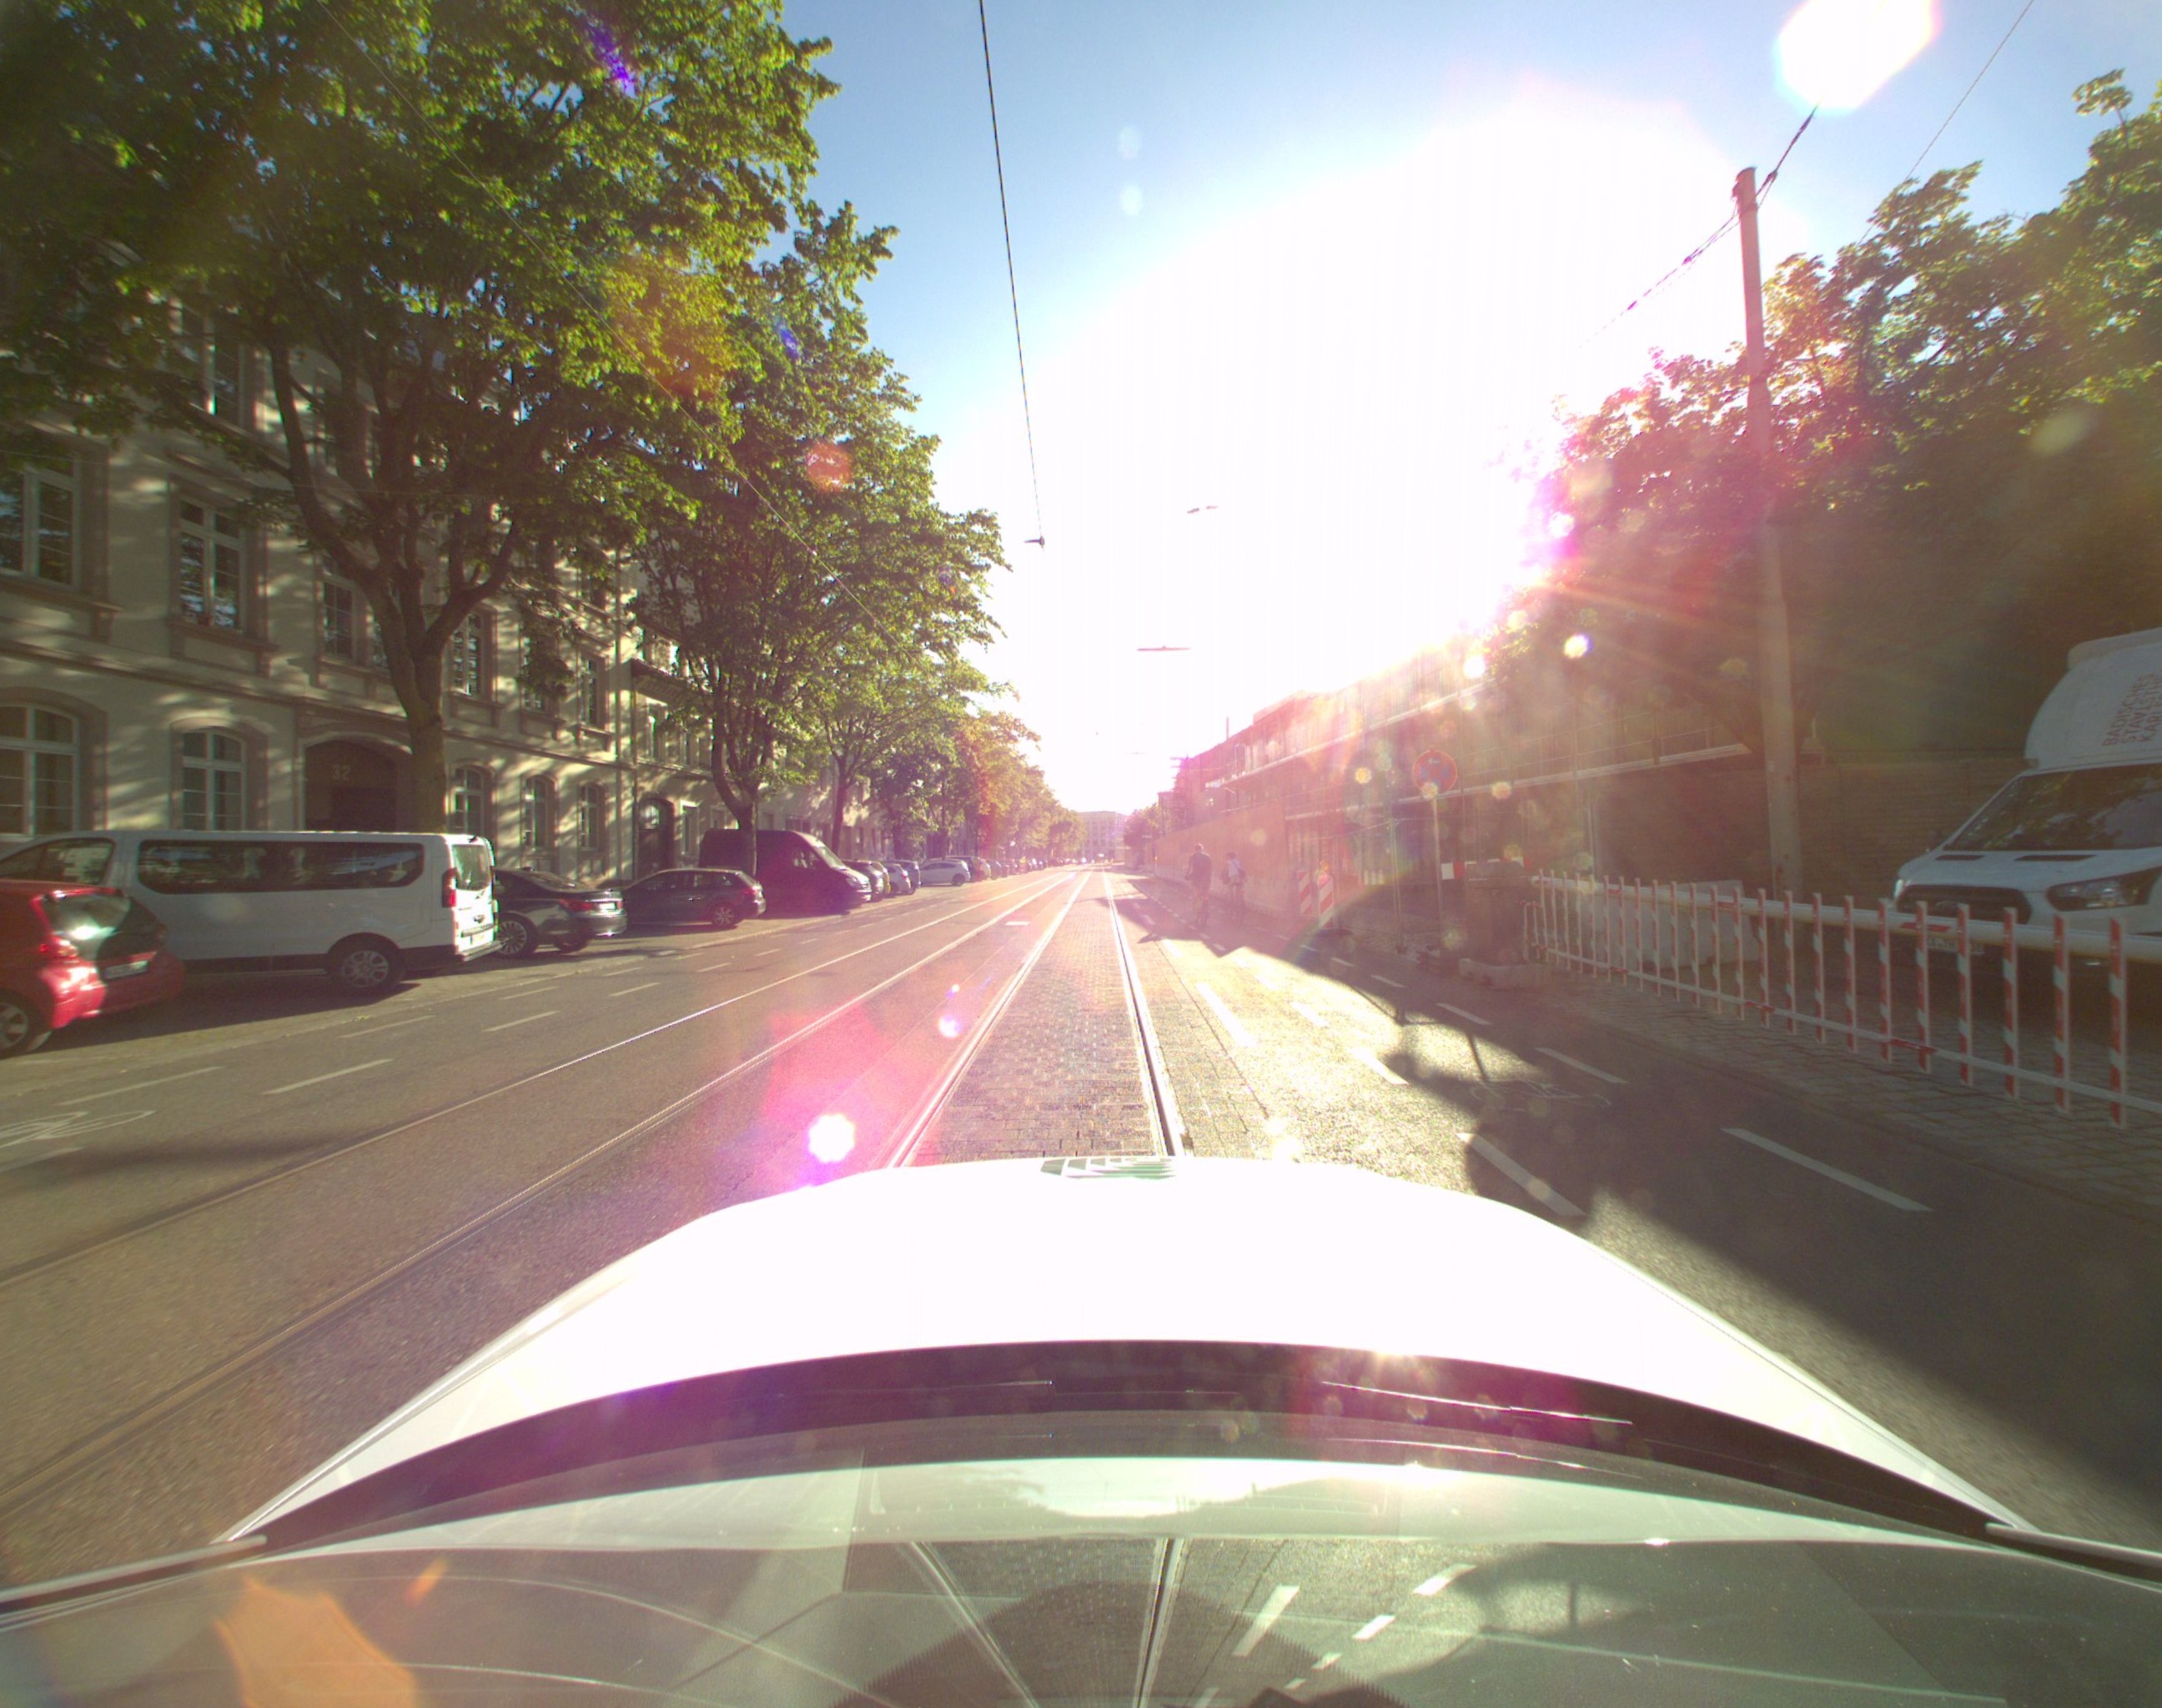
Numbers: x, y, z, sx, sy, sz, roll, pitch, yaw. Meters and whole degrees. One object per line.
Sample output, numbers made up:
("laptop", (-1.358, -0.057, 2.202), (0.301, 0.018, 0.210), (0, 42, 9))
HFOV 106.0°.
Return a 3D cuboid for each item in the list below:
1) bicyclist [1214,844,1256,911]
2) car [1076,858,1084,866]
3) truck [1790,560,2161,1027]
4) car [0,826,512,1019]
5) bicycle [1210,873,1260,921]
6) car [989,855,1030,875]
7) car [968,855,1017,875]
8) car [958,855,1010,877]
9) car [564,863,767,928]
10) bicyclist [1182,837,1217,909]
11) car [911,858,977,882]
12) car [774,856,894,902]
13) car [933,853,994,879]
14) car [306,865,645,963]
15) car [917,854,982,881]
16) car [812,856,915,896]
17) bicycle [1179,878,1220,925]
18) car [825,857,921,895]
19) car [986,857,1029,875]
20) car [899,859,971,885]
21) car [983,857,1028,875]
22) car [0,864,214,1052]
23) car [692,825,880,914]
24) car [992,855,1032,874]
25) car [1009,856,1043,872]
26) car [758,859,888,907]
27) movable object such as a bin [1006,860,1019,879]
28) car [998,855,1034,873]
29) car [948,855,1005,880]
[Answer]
("bicyclist", (3.871, 0.573, 20.549), (0.889, 1.639, 1.100), (0, 0, 1))
("car", (-0.340, 1.838, 191.676), (1.676, 1.837, 3.868), (2, -1, -2))
("truck", (10.799, -0.585, 7.048), (7.071, 3.348, 2.391), (-3, 0, 1))
("car", (-10.401, 0.704, 9.902), (5.353, 1.991, 2.023), (-1, 0, -23))
("bicycle", (3.869, 1.059, 20.672), (0.889, 1.093, 2.431), (0, 0, 2))
("car", (-7.771, 1.238, 88.771), (4.101, 2.054, 1.816), (2, -1, -21))
("car", (-8.135, 0.997, 74.577), (4.101, 1.754, 1.816), (2, -1, -21))
("car", (-8.328, 1.041, 69.880), (4.101, 1.754, 1.816), (2, -1, -21))
("car", (-10.012, 1.003, 19.975), (4.095, 1.420, 1.819), (2, -1, -16))
("bicyclist", (2.774, 0.443, 19.167), (0.678, 1.658, 0.812), (-1, -1, 0))
("car", (-9.154, 1.045, 54.346), (4.099, 1.453, 1.817), (2, -1, -19))
("car", (-9.475, 0.949, 31.495), (4.081, 1.608, 1.824), (2, -1, -6))
("car", (-8.686, 0.895, 60.058), (4.101, 1.754, 1.816), (2, -1, -21))
("car", (-9.874, 0.968, 13.612), (4.083, 1.420, 1.824), (2, -1, -7))
("car", (-9.196, 0.943, 56.923), (4.101, 1.754, 1.816), (2, -1, -21))
("car", (-9.488, 0.965, 35.789), (4.081, 1.608, 1.824), (2, -1, -6))
("bicycle", (2.787, 1.095, 19.314), (0.678, 1.018, 1.921), (-1, -1, 0))
("car", (-9.730, 1.024, 38.328), (4.081, 1.608, 1.824), (2, -1, -6))
("car", (-7.727, 1.220, 85.832), (4.101, 1.754, 1.816), (2, -1, -21))
("car", (-8.918, 1.093, 49.669), (4.099, 1.453, 1.817), (2, -1, -19))
("car", (-7.661, 1.211, 82.486), (4.101, 1.754, 1.816), (2, -1, -21))
("car", (-10.348, 0.833, 7.097), (3.325, 1.503, 1.677), (3, -2, -20))
("car", (-9.418, 0.495, 26.377), (5.168, 2.578, 2.243), (2, -1, -3))
("car", (-7.874, 1.206, 93.012), (4.101, 2.054, 1.816), (2, -1, -21))
("car", (-7.418, 1.324, 110.106), (4.101, 2.054, 1.816), (2, -1, -21))
("car", (-9.036, 1.004, 28.792), (4.082, 1.608, 1.824), (0, -1, -6))
("movable object such as a bin", (-5.942, 1.346, 71.046), (0.904, 1.667, 0.760), (2, -1, -21))
("car", (-8.094, 1.213, 101.524), (4.101, 2.054, 1.816), (2, -1, -21))
("car", (-8.146, 1.041, 63.354), (4.101, 1.754, 1.816), (2, -1, -21))
